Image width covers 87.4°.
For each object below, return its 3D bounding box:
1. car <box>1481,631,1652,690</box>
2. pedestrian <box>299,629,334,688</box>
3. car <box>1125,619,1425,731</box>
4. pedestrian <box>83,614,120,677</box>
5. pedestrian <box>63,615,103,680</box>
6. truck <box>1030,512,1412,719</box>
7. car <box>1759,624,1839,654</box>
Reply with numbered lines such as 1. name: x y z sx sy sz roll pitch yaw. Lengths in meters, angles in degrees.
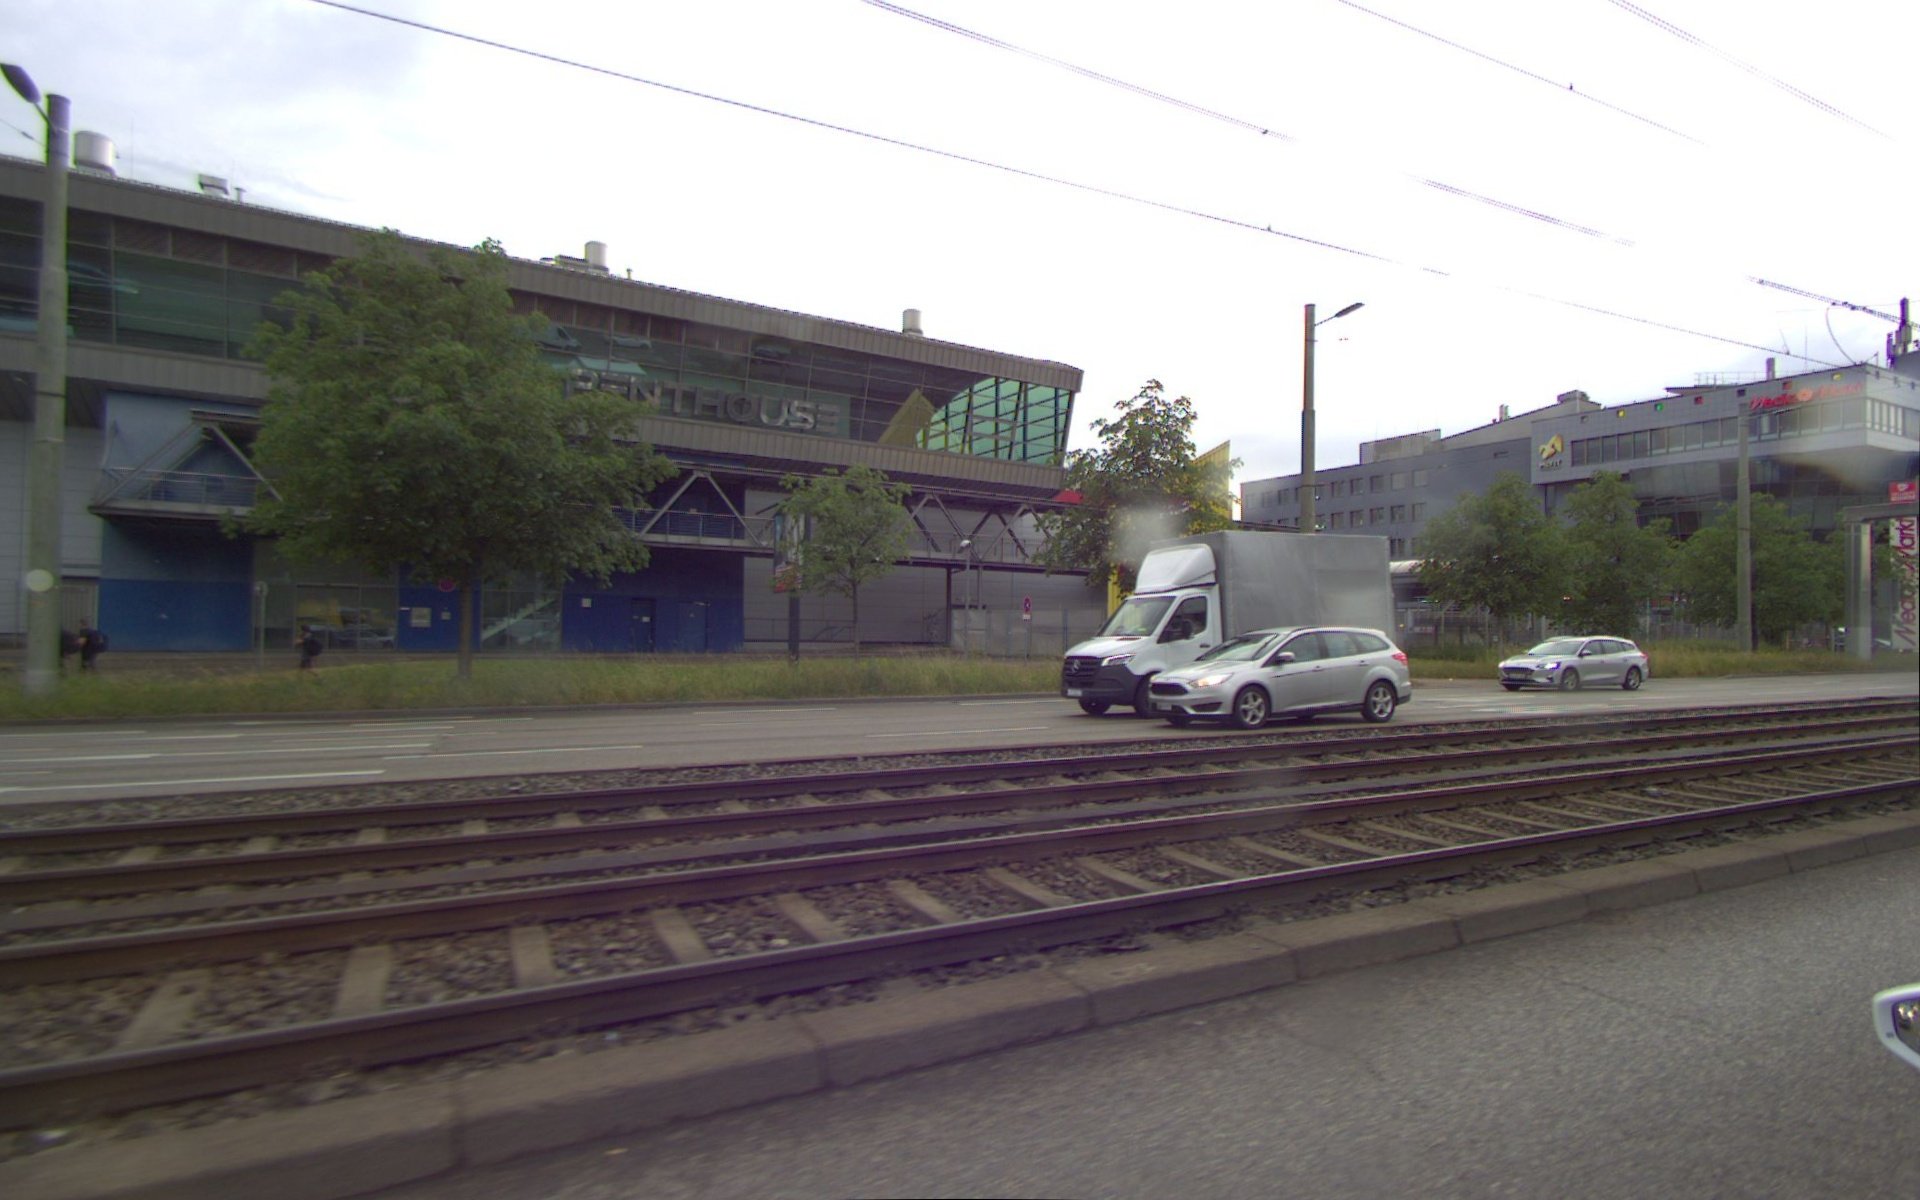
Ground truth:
1. car: 16.664 1.624 27.595 4.362 1.508 1.893 1 -2 -24
2. pedestrian: -16.462 1.483 25.709 0.737 1.458 0.604 1 1 -32
3. car: 4.888 1.106 15.529 4.383 1.518 1.800 1 -4 -27
4. pedestrian: -20.536 1.074 24.033 0.647 1.475 0.447 1 1 -38
5. pedestrian: -20.330 1.088 23.286 0.647 1.475 0.507 1 1 -38
6. truck: 5.074 0.359 19.317 7.060 3.401 2.718 1 -3 -27
7. car: 59.789 2.761 71.613 1.979 2.040 3.963 1 -2 -34
